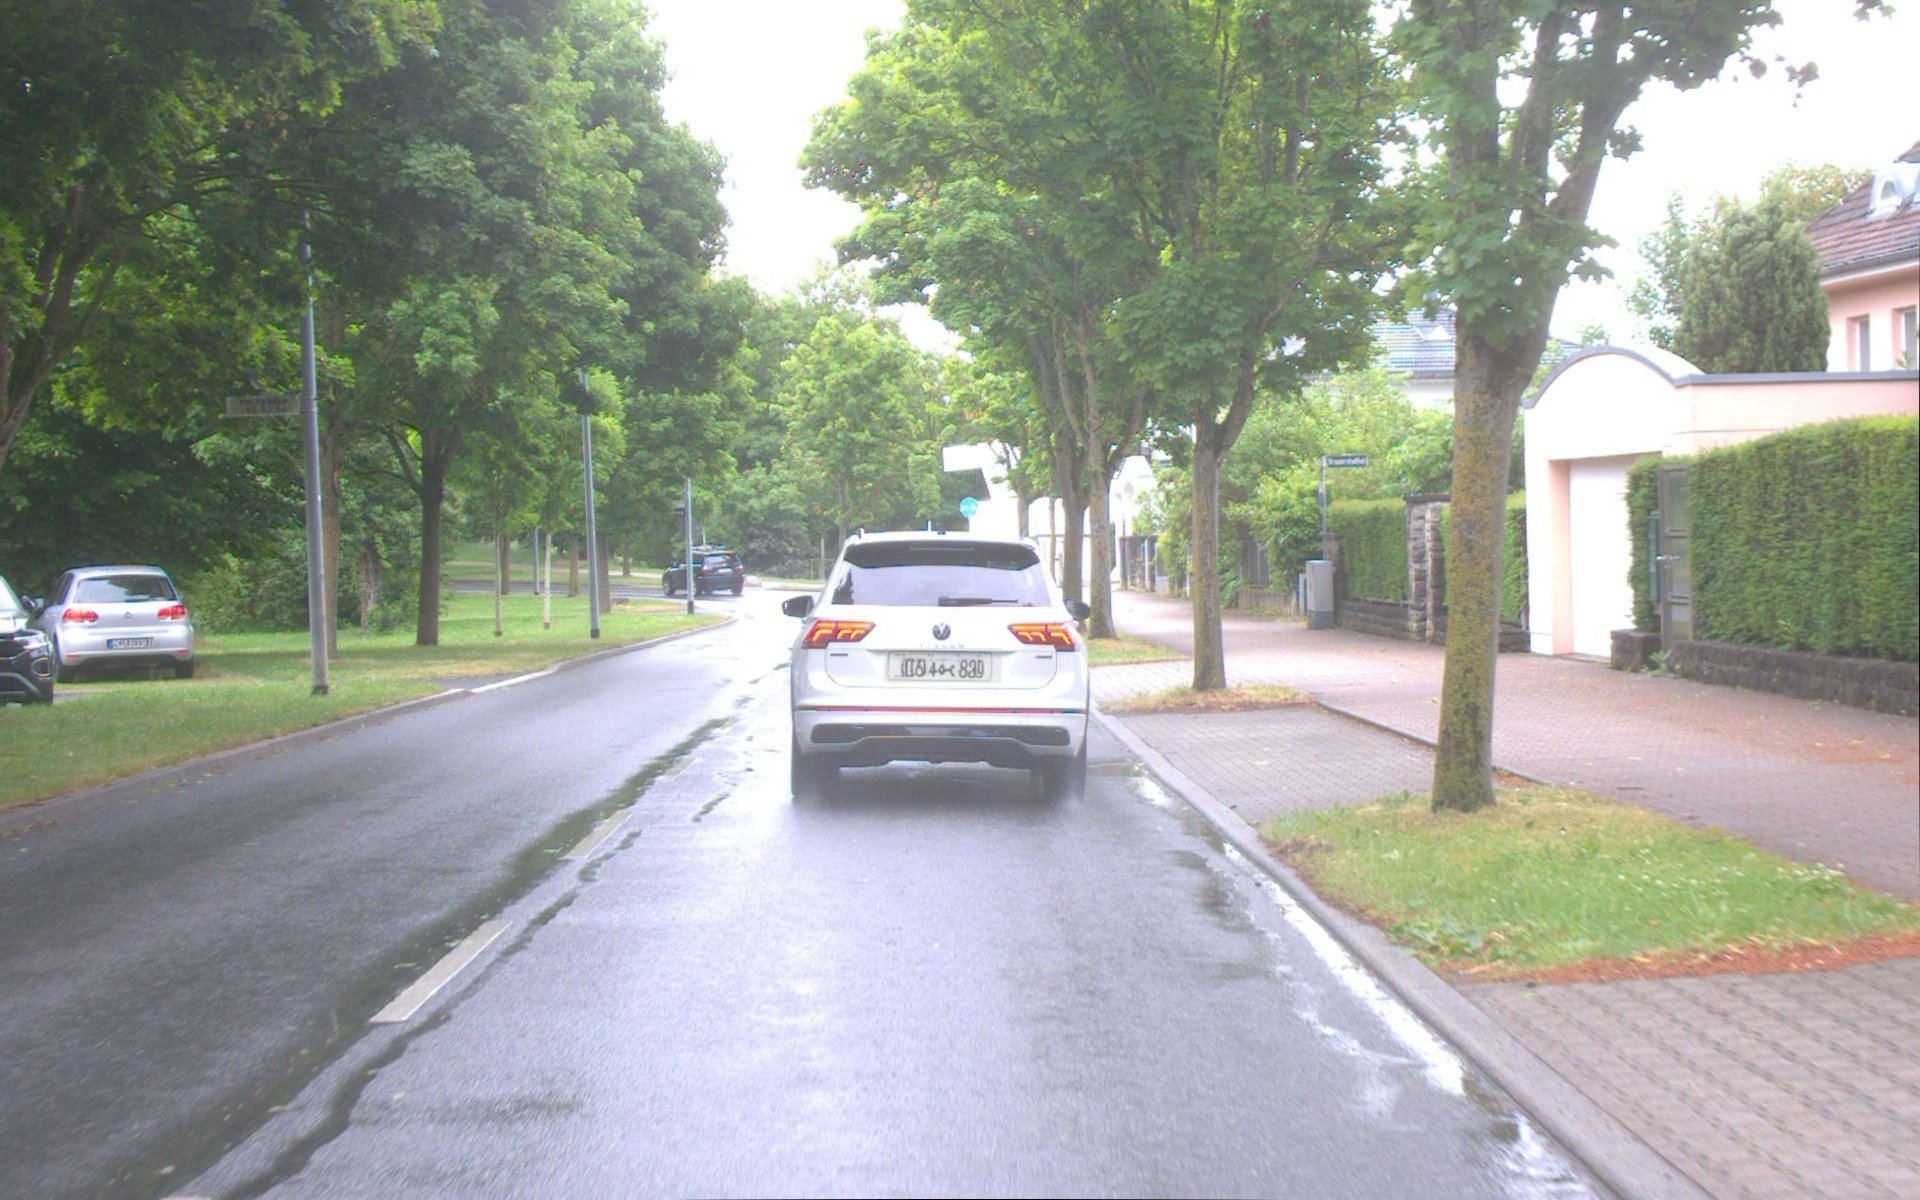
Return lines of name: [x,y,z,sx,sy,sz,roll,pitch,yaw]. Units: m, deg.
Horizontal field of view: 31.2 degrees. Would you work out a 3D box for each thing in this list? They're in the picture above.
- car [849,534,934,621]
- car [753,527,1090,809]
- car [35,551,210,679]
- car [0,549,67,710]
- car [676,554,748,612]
car: [-1.646,-0.536,81.498,1.901,2.007,3.945,1,0,-3]
car: [-0.223,0.364,22.254,1.974,1.647,4.177,0,1,0]
car: [-11.167,0.156,45.654,1.880,1.425,4.218,-2,3,-18]
car: [-9.922,0.264,34.335,1.888,1.508,4.251,-1,1,-14]
car: [-8.930,-0.626,123.660,1.900,2.007,3.946,1,0,-14]
